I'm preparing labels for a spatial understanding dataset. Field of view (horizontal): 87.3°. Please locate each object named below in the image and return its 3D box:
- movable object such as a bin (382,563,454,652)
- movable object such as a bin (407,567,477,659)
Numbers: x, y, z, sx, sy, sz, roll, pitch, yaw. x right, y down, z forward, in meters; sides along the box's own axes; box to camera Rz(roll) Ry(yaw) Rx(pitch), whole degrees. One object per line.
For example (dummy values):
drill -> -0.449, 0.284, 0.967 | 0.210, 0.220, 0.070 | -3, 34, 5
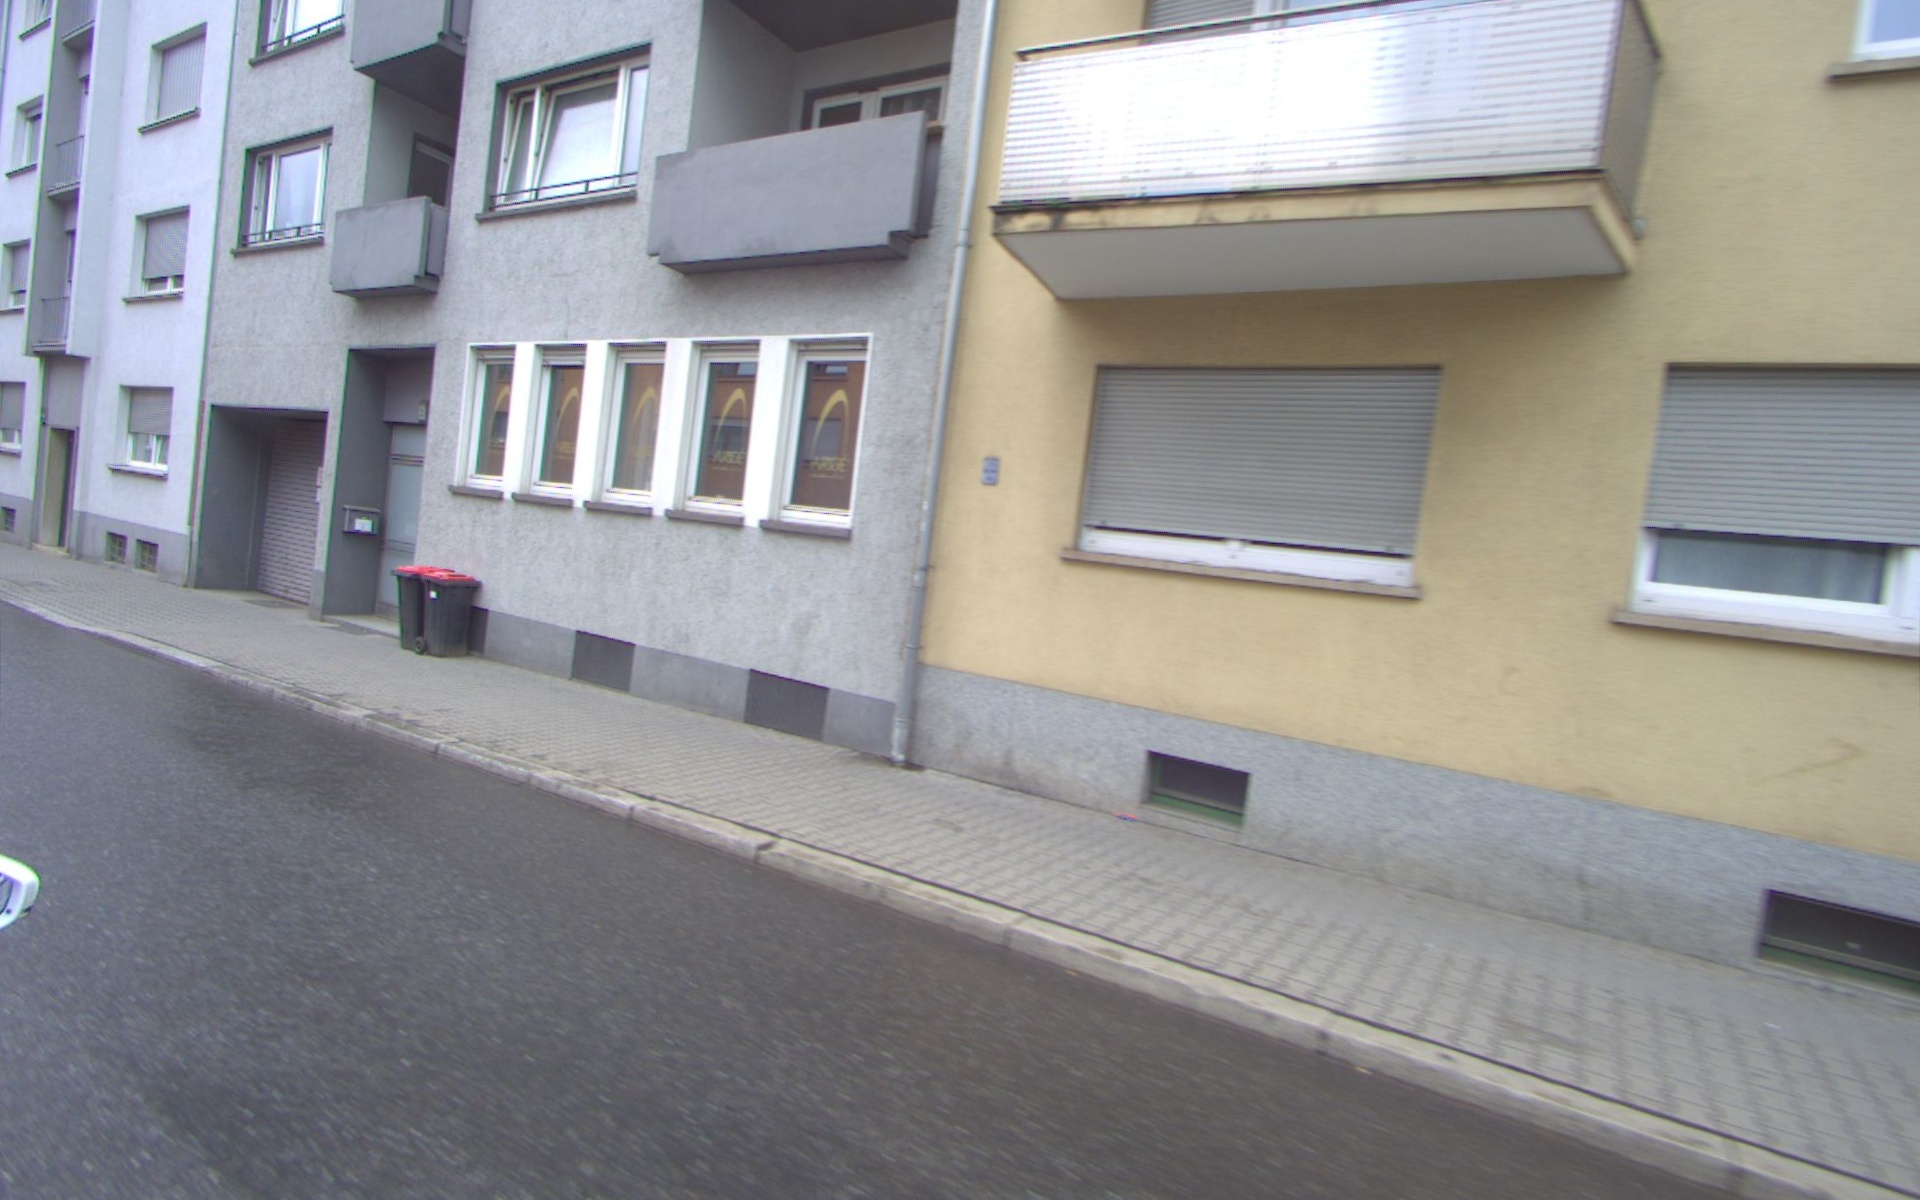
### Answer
movable object such as a bin -> -6.310, 0.084, 11.719 | 0.467, 0.976, 0.561 | 8, 5, 35
movable object such as a bin -> -5.884, 0.142, 11.419 | 0.555, 0.976, 0.472 | 8, 5, 34
